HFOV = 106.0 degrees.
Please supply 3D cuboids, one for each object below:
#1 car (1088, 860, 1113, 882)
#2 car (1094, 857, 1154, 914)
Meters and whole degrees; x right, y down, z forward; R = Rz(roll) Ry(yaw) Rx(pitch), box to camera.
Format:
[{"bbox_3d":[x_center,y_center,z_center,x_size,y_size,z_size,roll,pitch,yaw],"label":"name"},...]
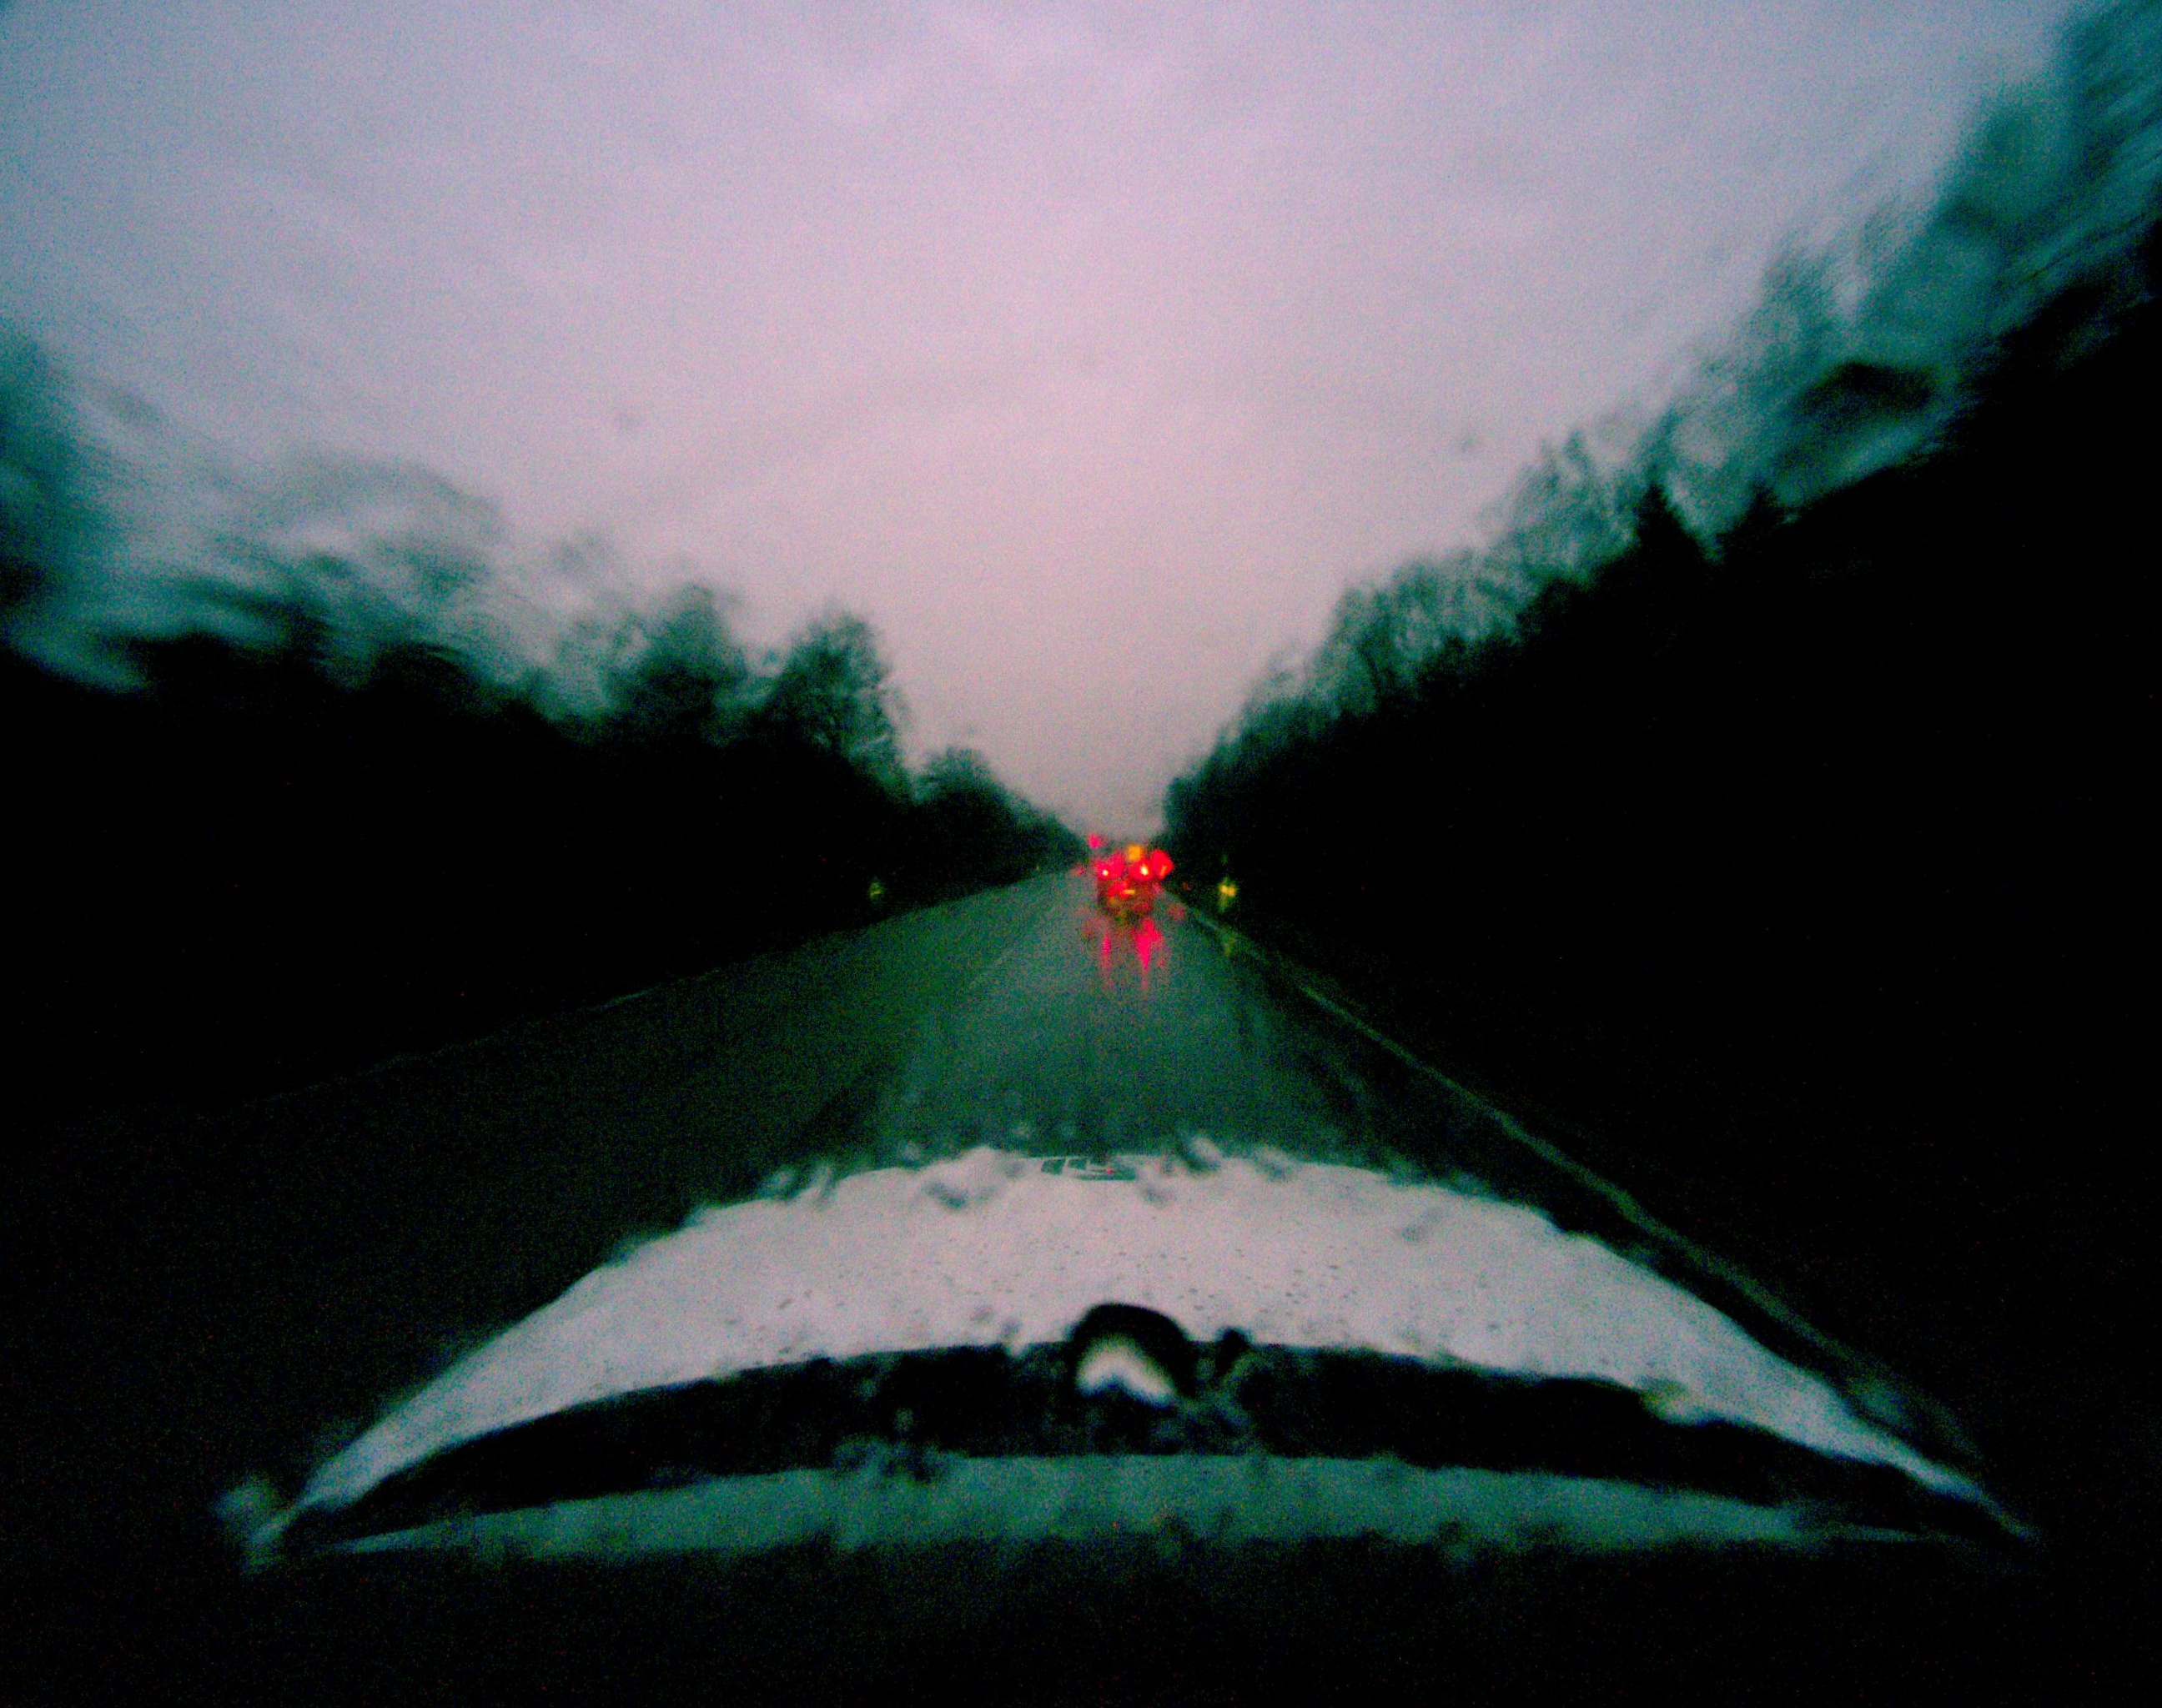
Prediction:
[{"bbox_3d":[1.510,1.254,61.228,1.720,1.643,4.003,-1,-1,3],"label":"car"},{"bbox_3d":[1.372,0.939,25.785,1.720,1.643,4.003,-1,-1,3],"label":"car"}]
